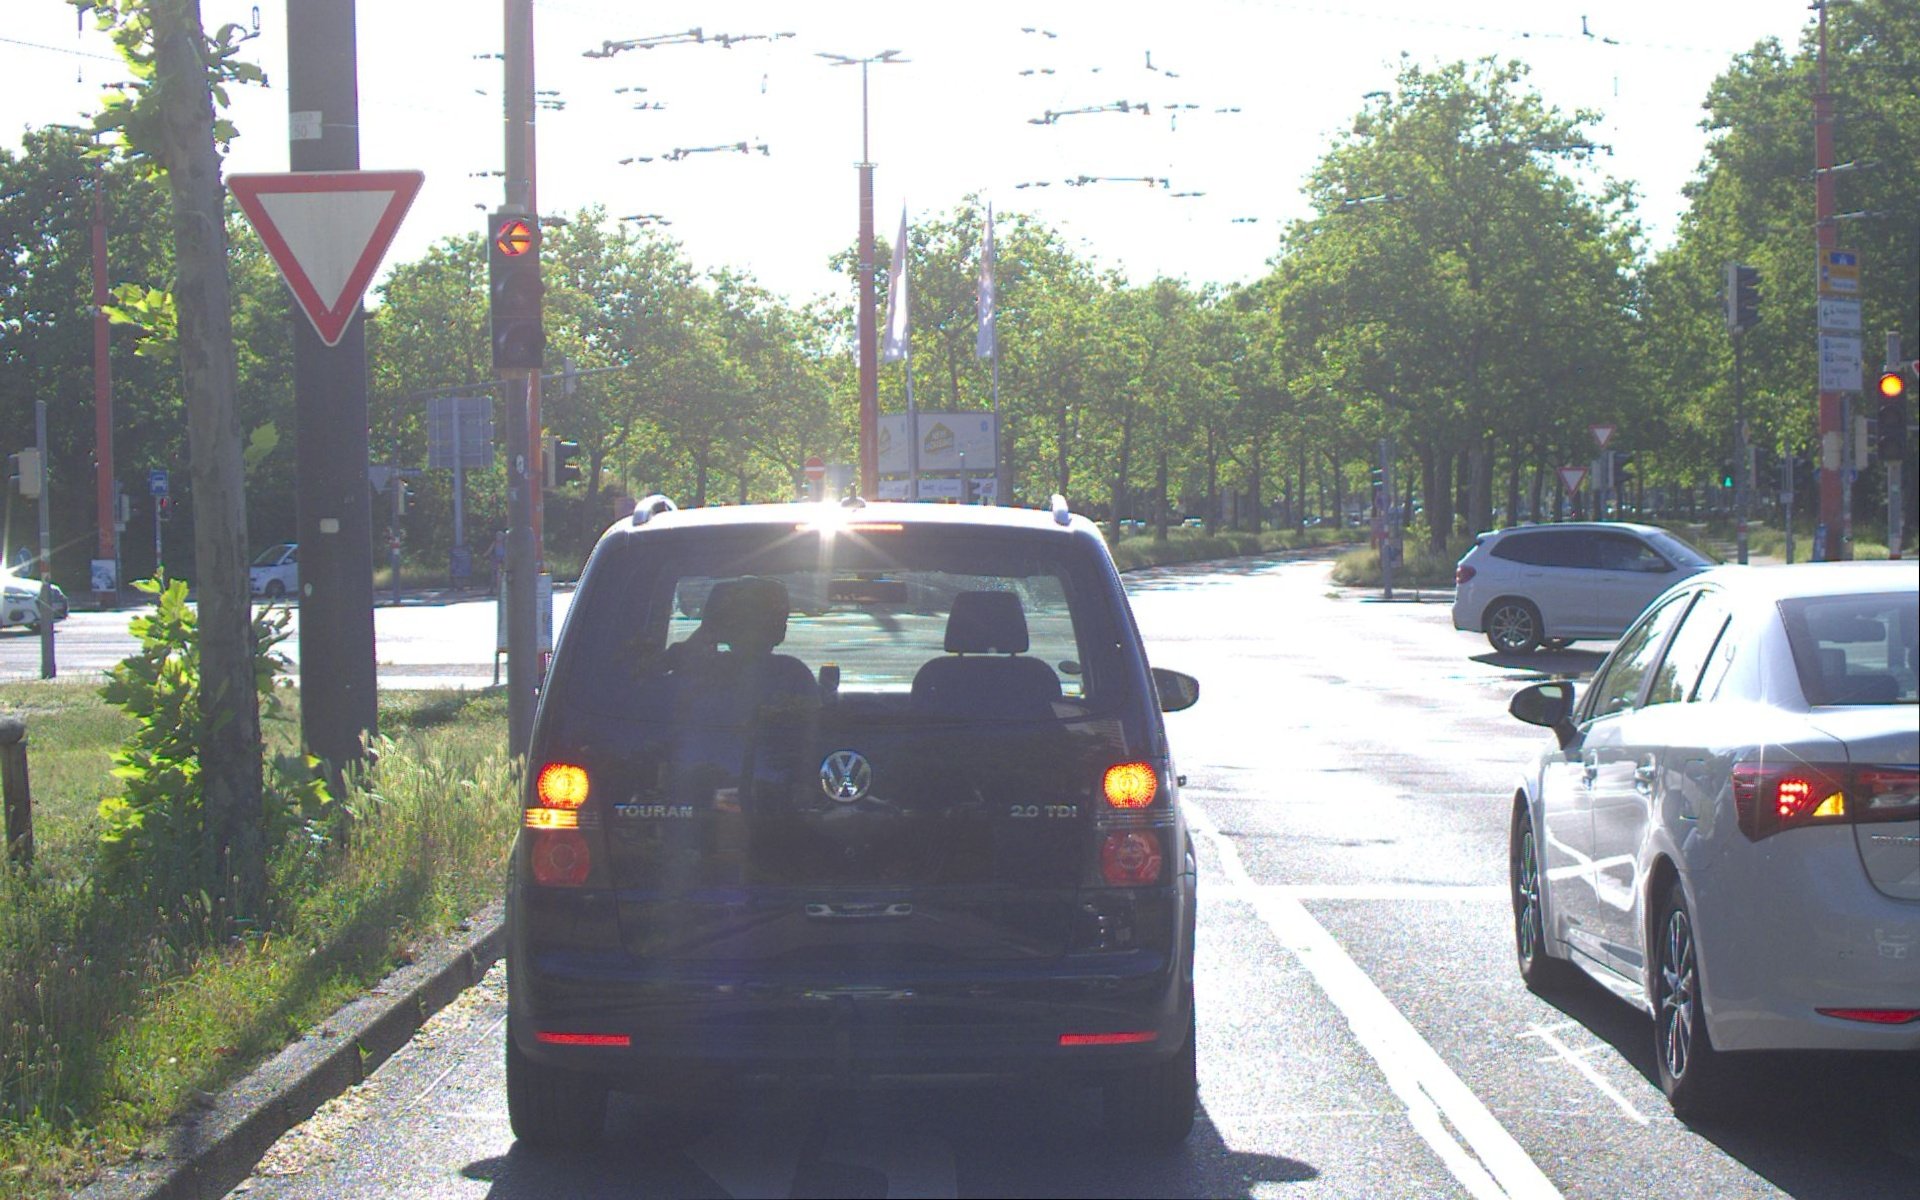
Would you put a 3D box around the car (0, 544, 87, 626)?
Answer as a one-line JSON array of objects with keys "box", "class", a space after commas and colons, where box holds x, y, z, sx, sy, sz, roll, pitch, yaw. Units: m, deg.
[{"box": [-18.336, -0.275, 62.860, 4.213, 1.459, 1.912, 0, 1, 18], "class": "car"}]

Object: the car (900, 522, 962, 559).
[{"box": [-1.370, -2.822, 162.912, 1.994, 1.679, 4.826, 0, 1, 11], "class": "car"}]

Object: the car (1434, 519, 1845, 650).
[{"box": [8.641, -0.210, 43.829, 4.788, 1.592, 1.911, 0, 1, 29], "class": "car"}]

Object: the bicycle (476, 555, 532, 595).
[{"box": [-12.517, -0.686, 94.412, 0.735, 1.086, 1.959, 0, 1, 18], "class": "bicycle"}]

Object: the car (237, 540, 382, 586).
[{"box": [-18.939, -1.082, 100.098, 3.802, 1.305, 1.663, -1, 1, -27], "class": "car"}]

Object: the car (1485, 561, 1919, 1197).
[{"box": [2.687, 0.628, 10.072, 1.715, 1.449, 4.144, 0, 1, 1], "class": "car"}]

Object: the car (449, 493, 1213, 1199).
[{"box": [-0.316, 0.544, 9.872, 1.737, 1.635, 4.000, 0, 1, -1], "class": "car"}]

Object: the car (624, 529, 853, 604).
[{"box": [-4.473, -0.698, 69.474, 4.208, 1.459, 1.914, -1, 1, -27], "class": "car"}]

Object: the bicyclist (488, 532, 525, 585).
[{"box": [-12.486, -1.154, 94.624, 0.693, 1.452, 0.874, 0, 1, 18], "class": "bicyclist"}]
